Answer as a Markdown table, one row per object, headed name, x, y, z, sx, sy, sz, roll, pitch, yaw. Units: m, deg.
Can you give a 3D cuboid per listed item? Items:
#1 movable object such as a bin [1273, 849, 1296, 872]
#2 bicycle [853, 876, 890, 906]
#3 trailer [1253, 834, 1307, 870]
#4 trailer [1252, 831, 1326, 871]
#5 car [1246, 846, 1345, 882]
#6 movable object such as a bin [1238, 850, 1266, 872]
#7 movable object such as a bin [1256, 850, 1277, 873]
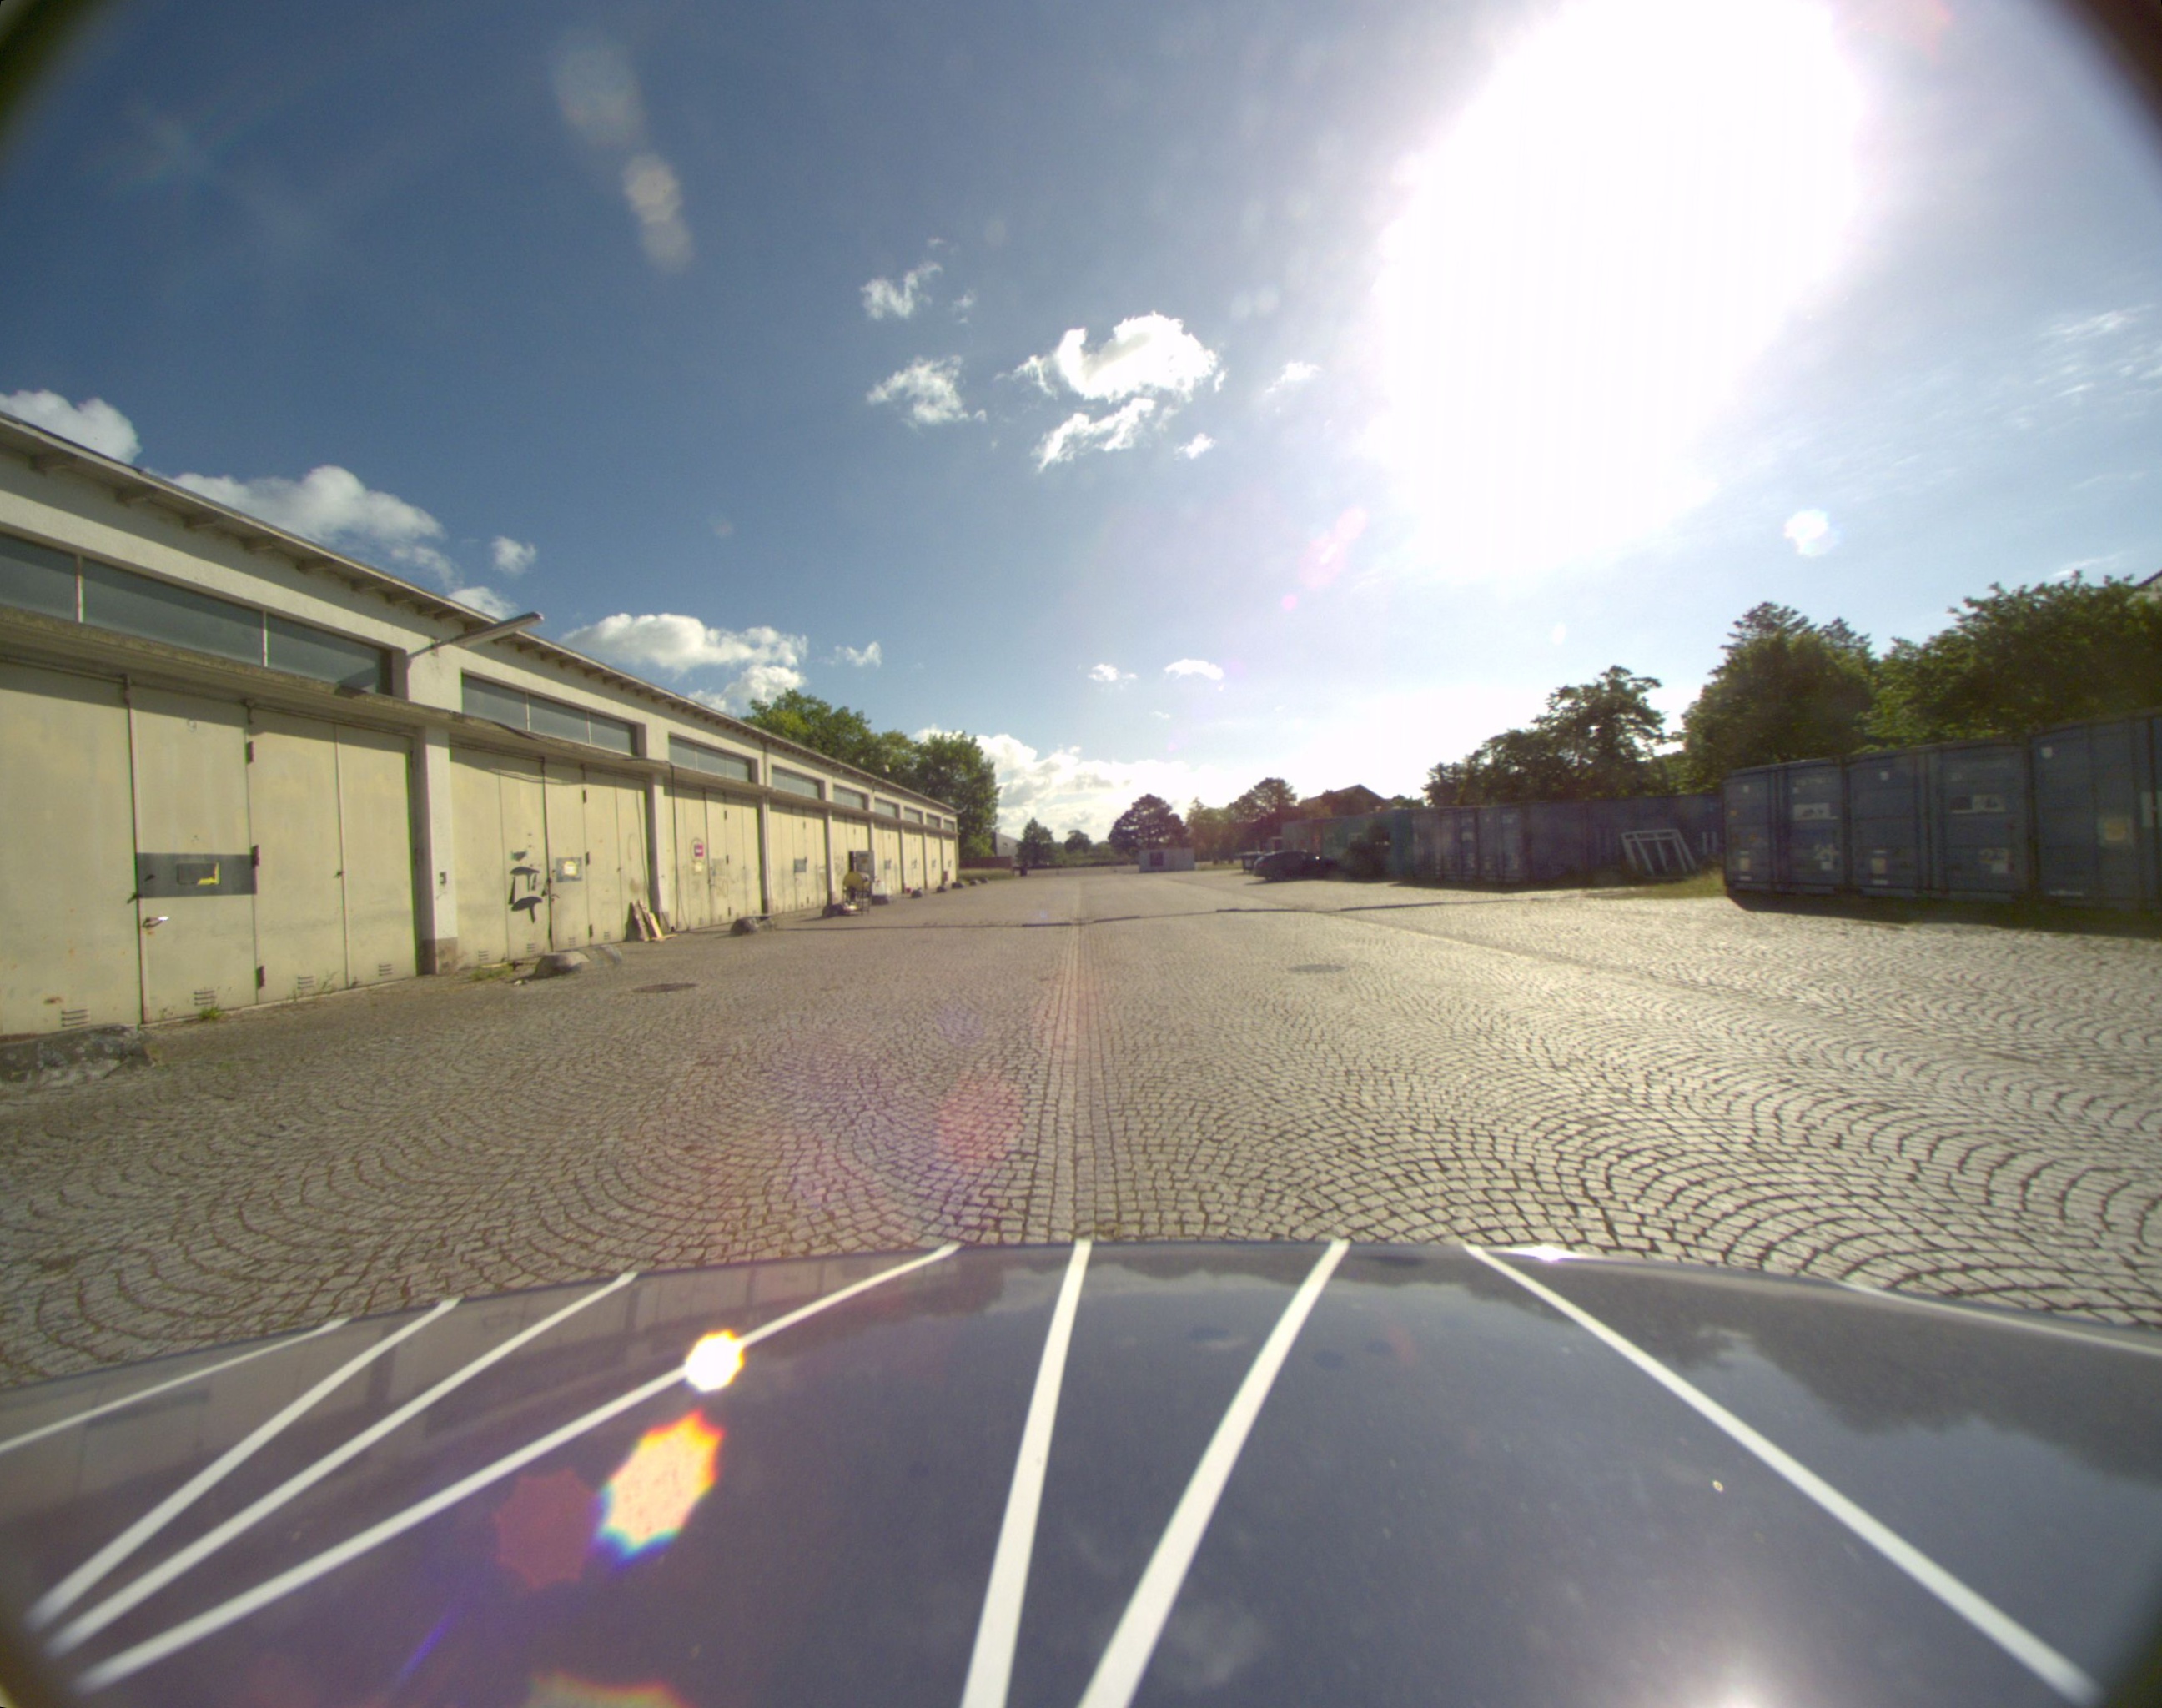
| name | x | y | z | sx | sy | sz | roll | pitch | yaw |
| --- | --- | --- | --- | --- | --- | --- | --- | --- | --- |
| movable object such as a bin | 13.396 | 0.451 | 50.086 | 0.885 | 1.449 | 1.439 | -4 | 1 | -11 |
| bicycle | -8.643 | 1.522 | 31.418 | 0.665 | 1.062 | 1.825 | -4 | 0 | 12 |
| trailer | 15.035 | -0.152 | 57.480 | 3.393 | 2.455 | 2.044 | -4 | 1 | 1 |
| trailer | 15.013 | -0.188 | 55.030 | 4.649 | 2.553 | 1.951 | -4 | 1 | -4 |
| car | 10.528 | 0.496 | 37.479 | 4.263 | 1.441 | 1.931 | -4 | 0 | -2 |
| movable object such as a bin | 12.137 | 0.517 | 53.871 | 1.435 | 1.449 | 1.158 | -3 | 1 | 43 |
| movable object such as a bin | 12.639 | 0.493 | 51.762 | 1.020 | 1.449 | 1.440 | -4 | 1 | -1 |
